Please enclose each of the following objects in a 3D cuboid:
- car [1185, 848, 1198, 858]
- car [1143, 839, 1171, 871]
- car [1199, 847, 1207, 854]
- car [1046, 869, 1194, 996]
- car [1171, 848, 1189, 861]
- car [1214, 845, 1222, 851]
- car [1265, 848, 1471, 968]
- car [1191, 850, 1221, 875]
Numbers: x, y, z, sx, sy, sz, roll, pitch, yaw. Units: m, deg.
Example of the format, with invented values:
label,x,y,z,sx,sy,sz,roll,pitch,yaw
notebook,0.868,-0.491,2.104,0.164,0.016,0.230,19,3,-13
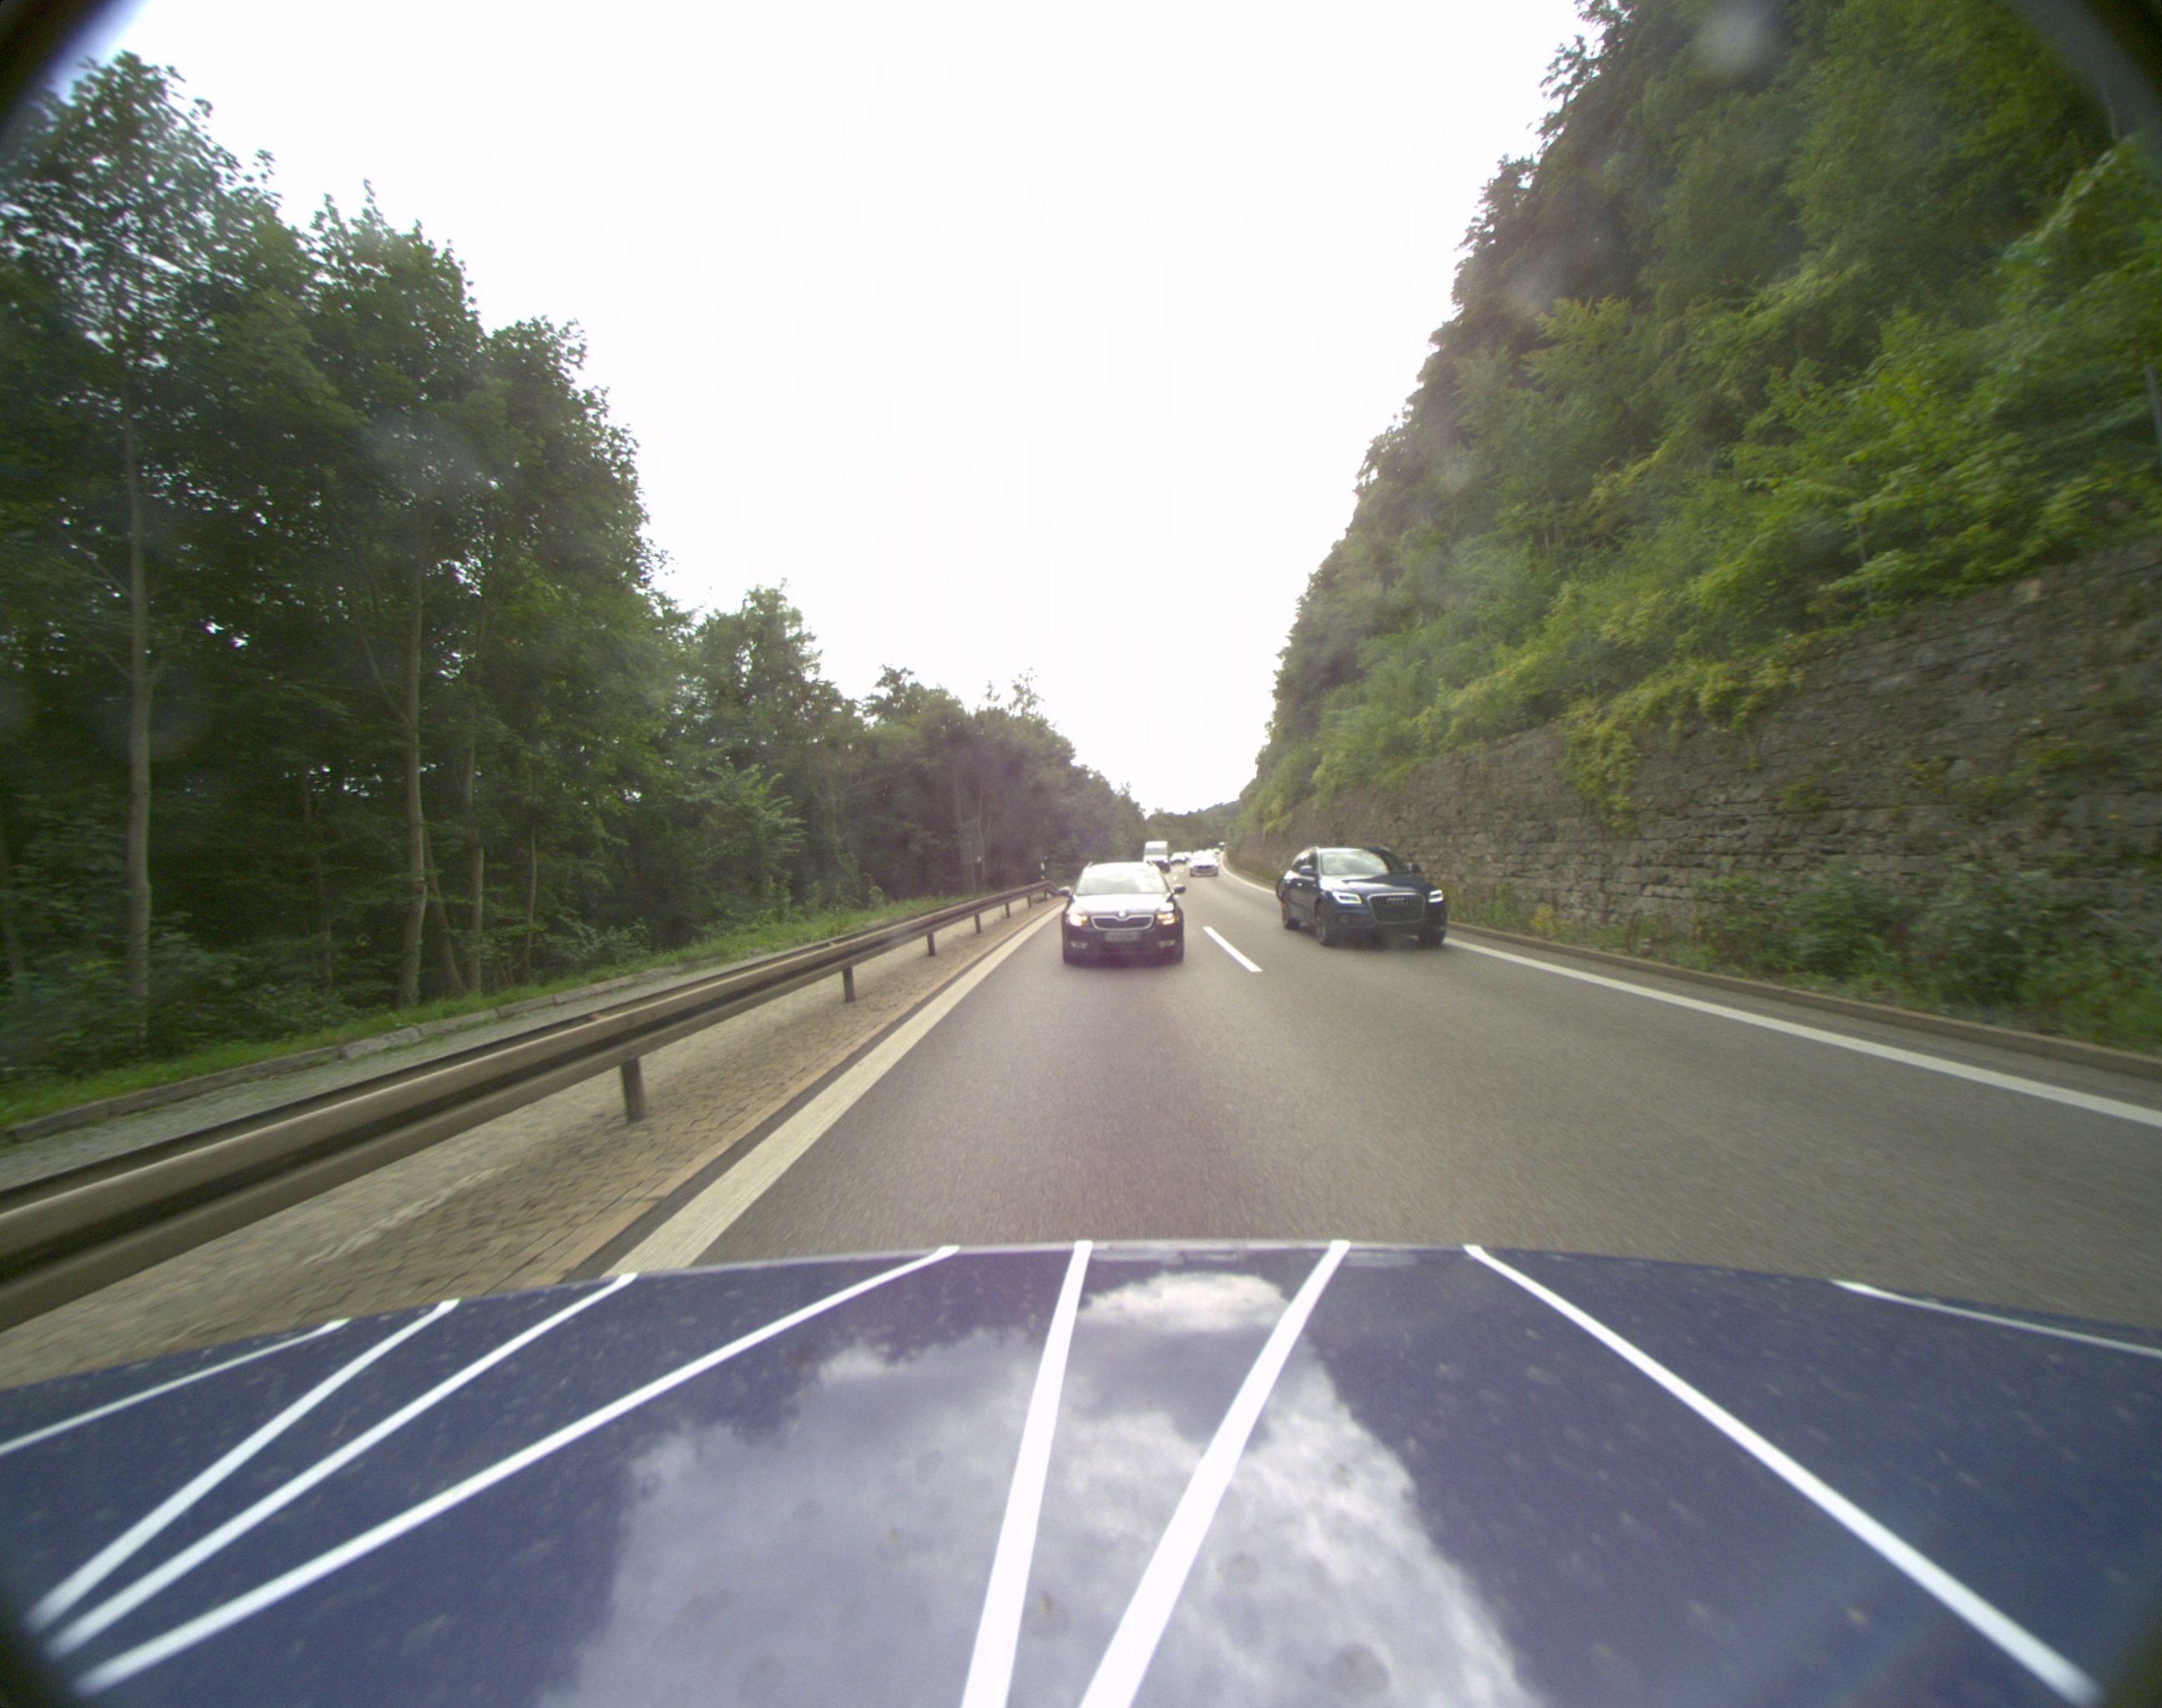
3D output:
label,x,y,z,sx,sy,sz,roll,pitch,yaw
car,18.031,-0.091,123.700,1.821,1.546,4.004,-1,-1,13
car,6.387,0.116,63.248,2.098,2.547,5.923,-1,-1,8
car,31.131,-0.940,193.563,1.821,1.546,4.004,-1,-1,13
car,0.554,0.932,10.844,1.638,1.384,4.500,-1,-1,3
car,12.398,0.084,95.362,1.821,1.546,4.004,-1,-1,13
car,38.113,-1.783,211.626,1.821,1.546,4.004,-1,-1,13
car,4.917,0.788,14.046,1.975,1.584,5.586,-4,1,4
car,8.332,0.550,50.797,1.822,1.546,4.003,-1,-1,8
